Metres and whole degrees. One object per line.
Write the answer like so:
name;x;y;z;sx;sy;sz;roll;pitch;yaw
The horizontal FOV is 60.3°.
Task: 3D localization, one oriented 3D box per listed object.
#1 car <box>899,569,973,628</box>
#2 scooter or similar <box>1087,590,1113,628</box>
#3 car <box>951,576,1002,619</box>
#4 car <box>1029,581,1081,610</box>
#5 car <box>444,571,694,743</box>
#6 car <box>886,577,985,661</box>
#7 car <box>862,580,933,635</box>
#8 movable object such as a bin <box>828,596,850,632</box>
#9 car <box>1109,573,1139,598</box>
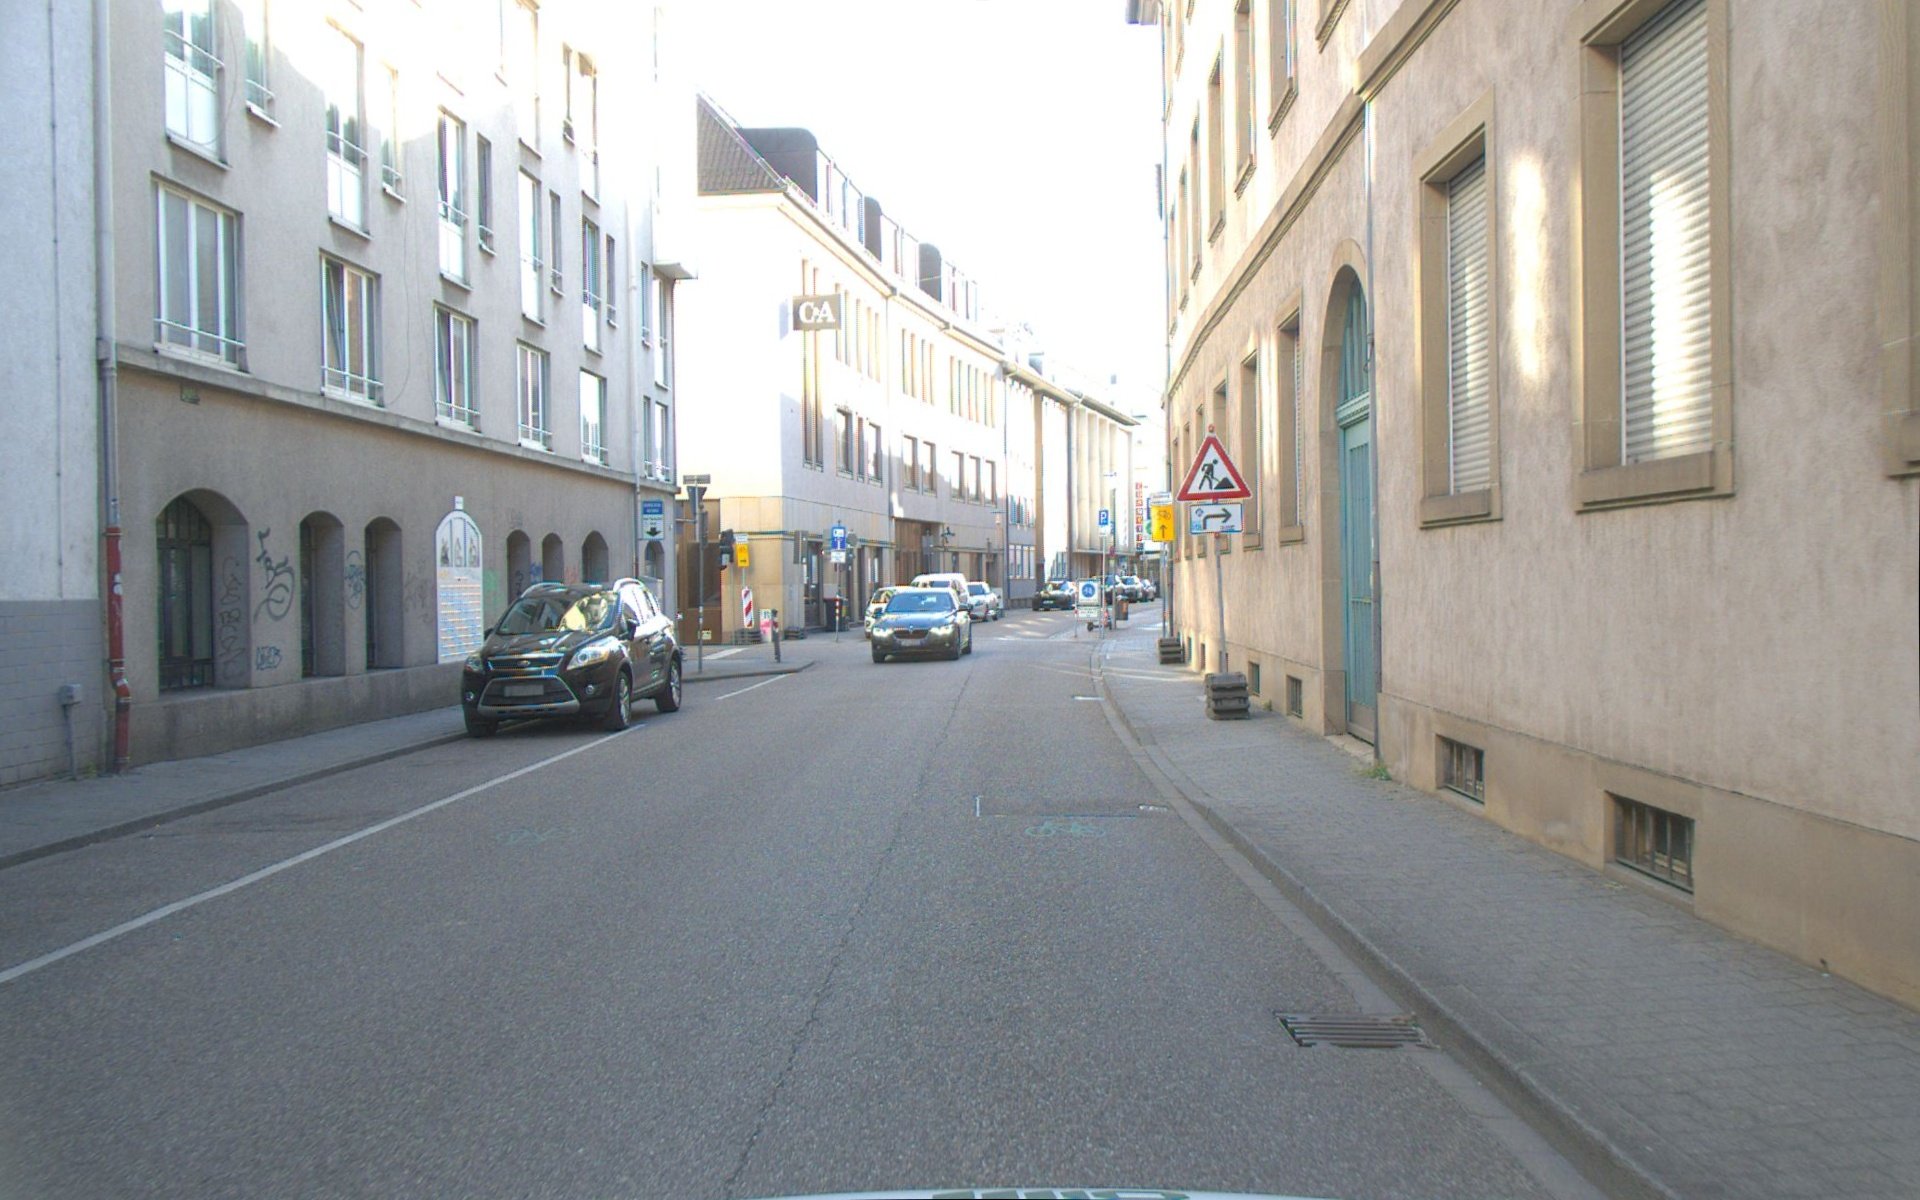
car;-0.759;-0.086;56.325;1.635;1.850;4.556;-2;1;10
scooter or similar;4.346;0.269;51.377;0.754;1.156;0.269;1;0;7
car;0.647;-0.112;62.426;1.244;1.533;3.405;-2;1;11
car;4.774;-0.248;82.492;1.841;1.355;4.104;-1;1;14
car;-4.551;0.582;19.905;1.704;1.740;4.192;-4;1;3
car;-0.568;0.355;34.344;1.681;1.605;4.185;-1;1;-6
car;-1.867;0.207;50.526;1.635;1.533;3.796;-3;1;5
movable object such as a bin;-3.784;0.431;51.829;0.596;1.079;0.713;1;0;1
car;10.081;-0.907;101.804;1.310;1.520;3.513;-1;1;14
